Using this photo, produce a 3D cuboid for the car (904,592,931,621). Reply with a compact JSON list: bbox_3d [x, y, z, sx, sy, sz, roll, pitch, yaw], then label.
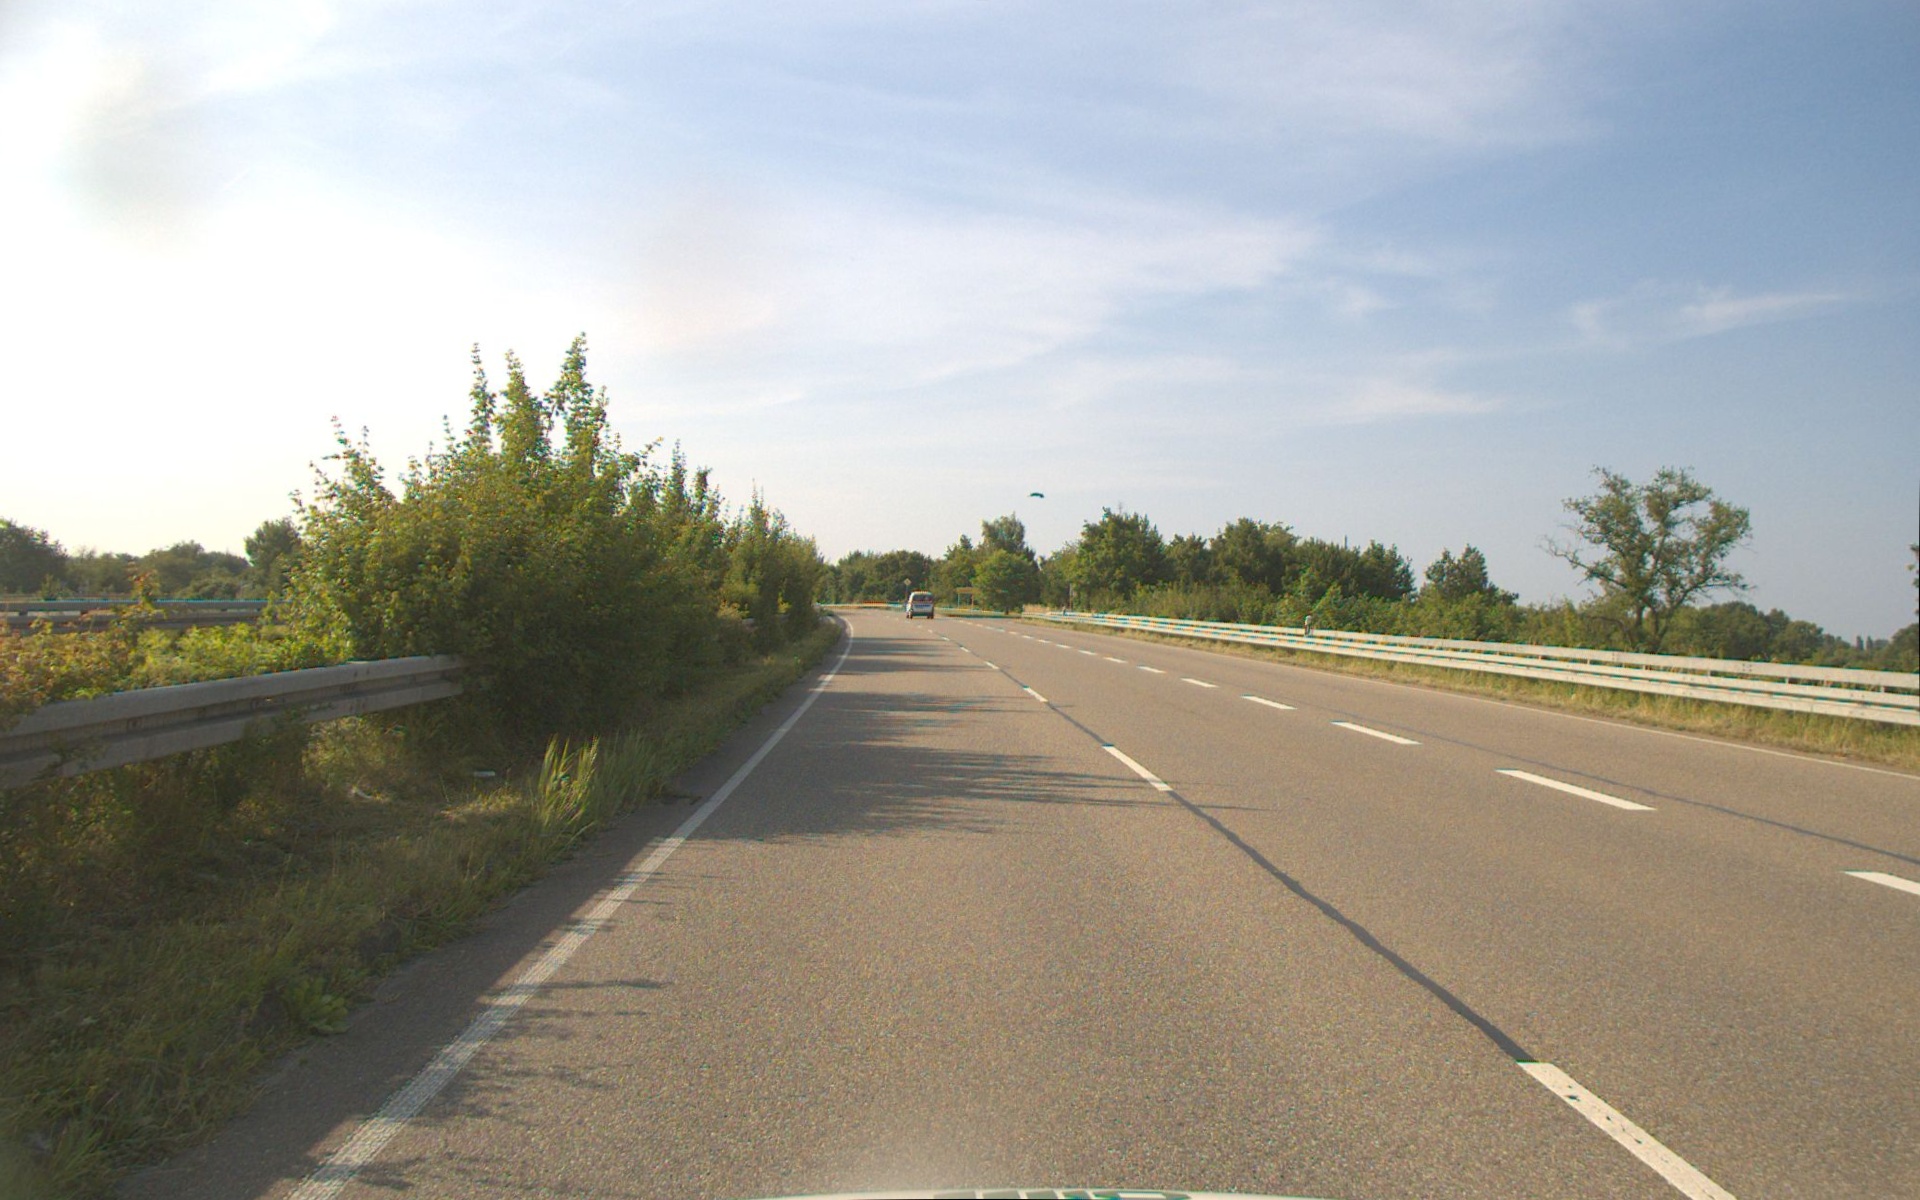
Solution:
[{"bbox_3d":[-2.897,0.485,114.581,1.729,1.915,3.999,1,-1,0],"label":"car"}]
